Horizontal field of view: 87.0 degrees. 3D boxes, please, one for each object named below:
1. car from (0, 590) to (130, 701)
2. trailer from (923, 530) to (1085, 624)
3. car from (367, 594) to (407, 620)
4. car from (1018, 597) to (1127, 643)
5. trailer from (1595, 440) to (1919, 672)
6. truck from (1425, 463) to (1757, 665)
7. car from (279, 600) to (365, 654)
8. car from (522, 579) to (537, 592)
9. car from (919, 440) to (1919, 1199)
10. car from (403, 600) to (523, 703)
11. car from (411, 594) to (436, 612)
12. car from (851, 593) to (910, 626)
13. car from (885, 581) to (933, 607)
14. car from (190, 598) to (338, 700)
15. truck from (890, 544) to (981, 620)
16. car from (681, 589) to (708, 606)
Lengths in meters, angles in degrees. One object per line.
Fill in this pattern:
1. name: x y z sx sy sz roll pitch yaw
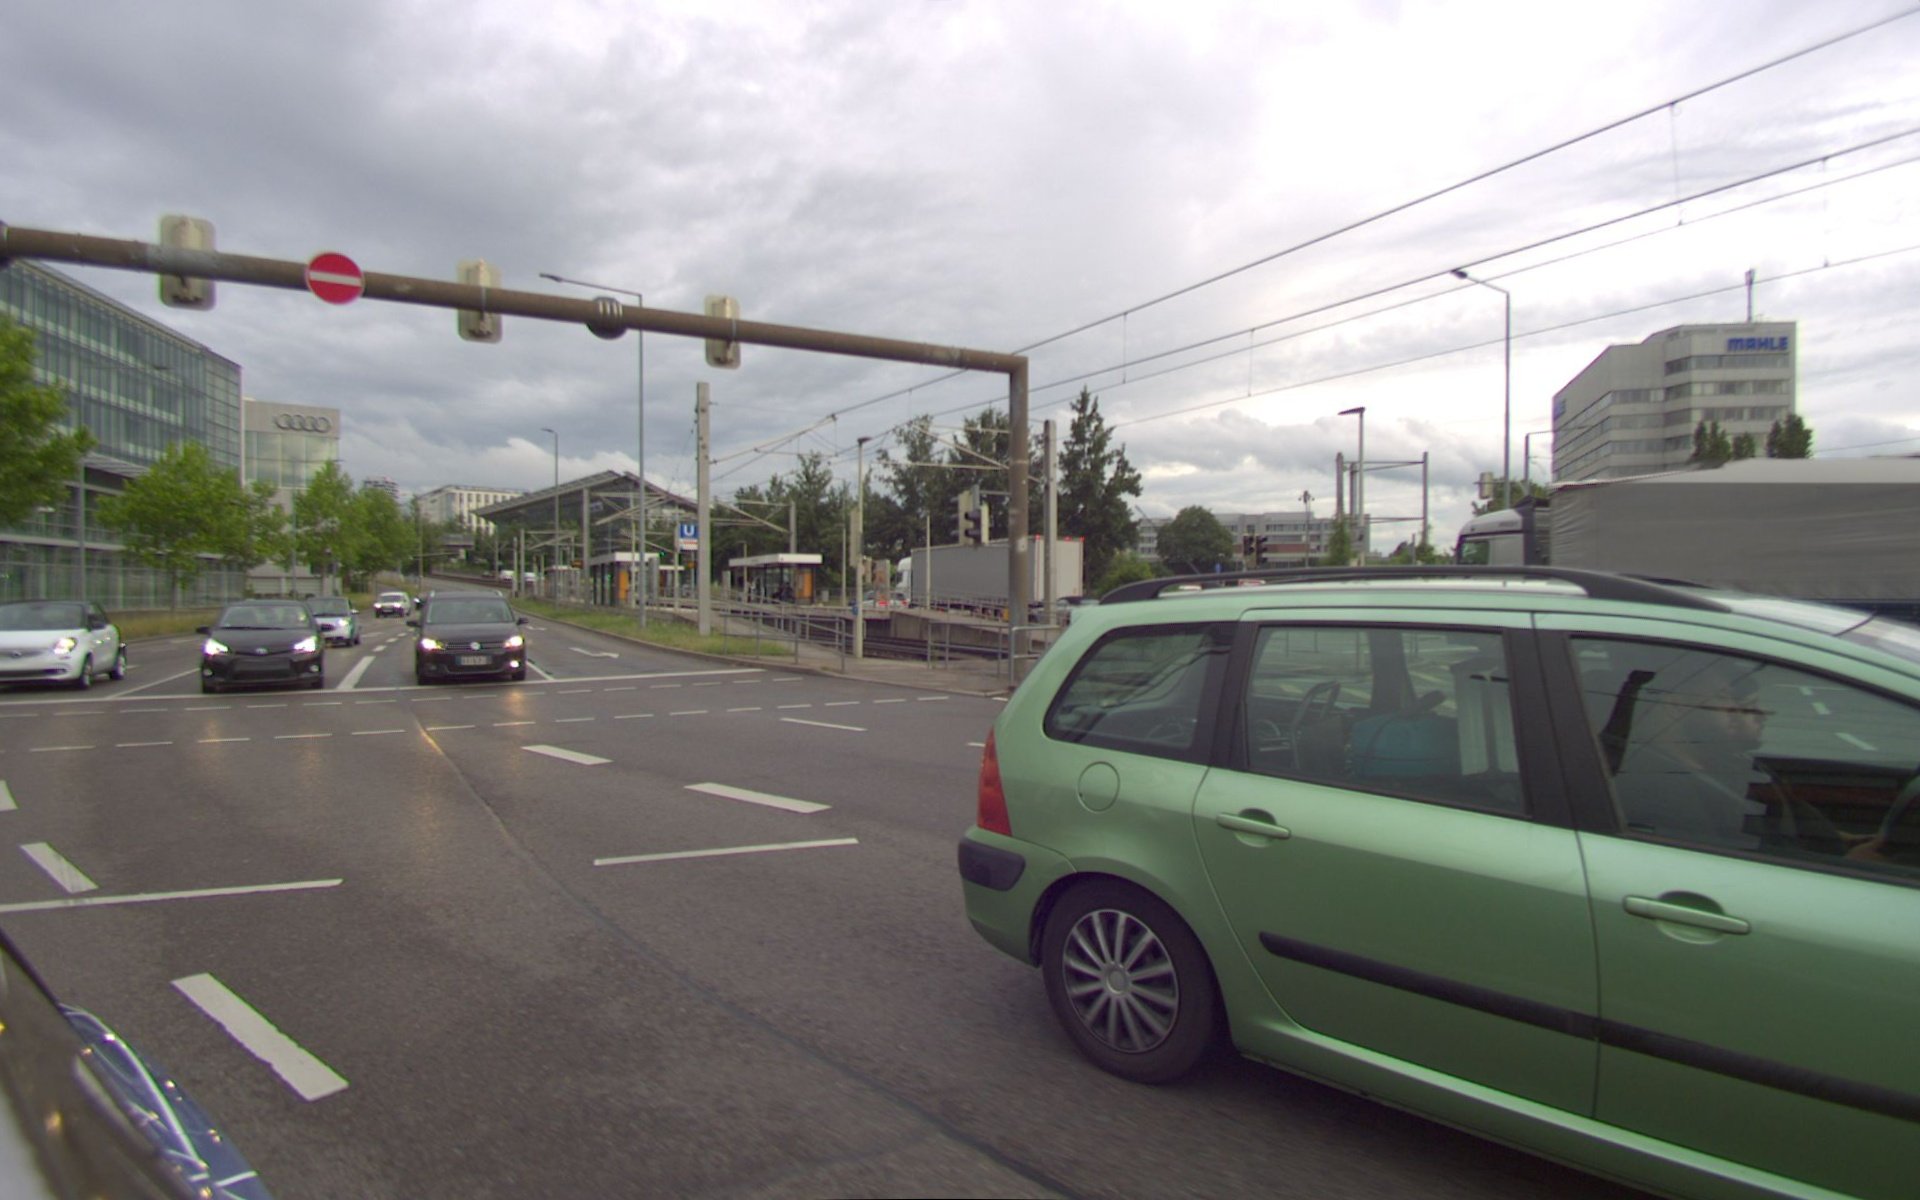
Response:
1. car: -16.207 0.714 17.855 1.775 1.736 4.012 1 0 -30
2. trailer: 1.842 -0.984 50.505 2.755 4.138 11.479 0 0 -27
3. car: -41.435 0.489 73.299 1.799 1.723 4.167 -2 2 -20
4. car: 4.267 0.709 39.177 1.876 1.566 4.581 -3 2 -28
5. trailer: 18.792 -0.773 18.004 2.613 4.155 12.781 0 1 -33
6. truck: 14.816 -0.782 24.261 2.630 4.161 6.204 0 1 -32
7. car: -19.788 0.789 31.549 1.711 1.489 4.013 -2 1 -25
8. car: -77.354 -2.541 181.808 1.966 2.230 5.161 -3 2 -27
9. car: 2.059 0.420 2.568 4.403 1.479 1.676 0 3 43
10. car: -9.369 0.849 18.902 1.703 1.604 4.206 -3 2 -30
11. car: -49.071 0.259 92.629 1.673 1.534 3.838 -1 2 -23
12. car: -4.474 0.501 56.310 1.860 1.664 4.109 -3 2 -26
13. car: -3.471 -0.431 68.424 1.550 1.638 4.096 -3 2 -28
14. car: -11.923 0.760 17.567 1.669 1.534 3.917 -1 0 -28
15. truck: -1.458 -0.944 56.982 2.792 4.026 6.006 0 0 -27
16. car: -25.927 -0.274 98.719 1.762 1.513 4.013 -3 2 -27
